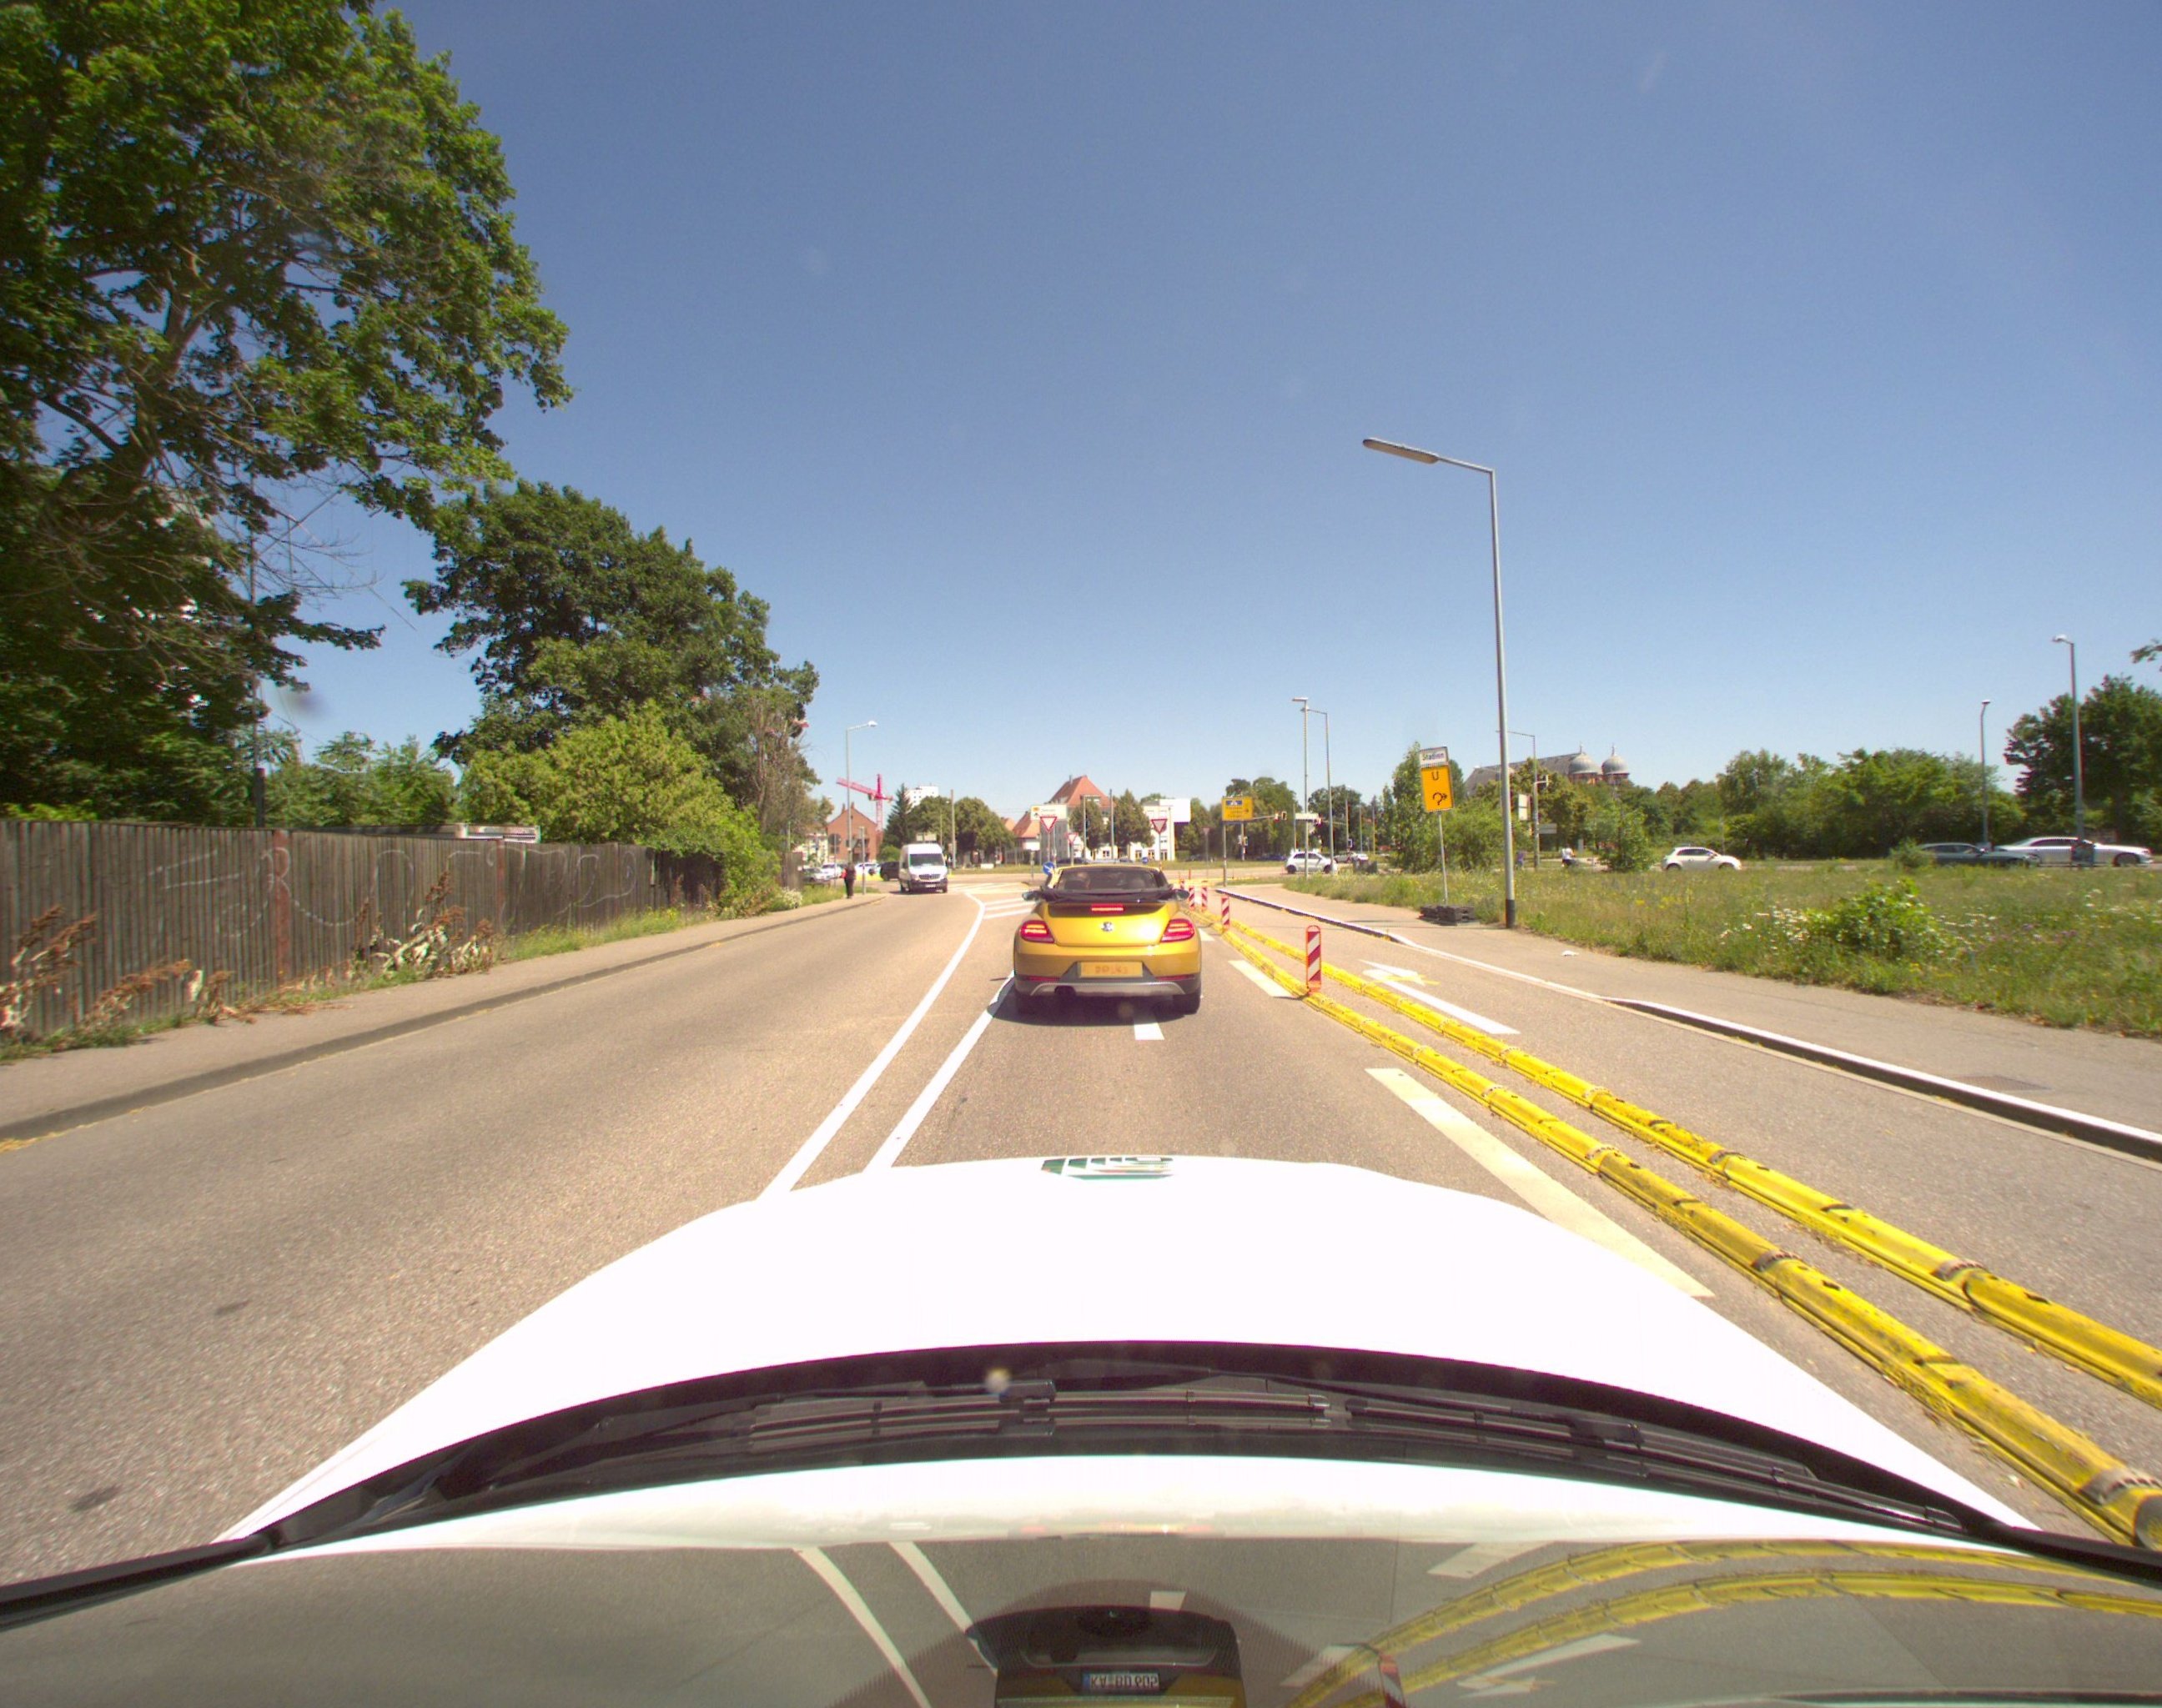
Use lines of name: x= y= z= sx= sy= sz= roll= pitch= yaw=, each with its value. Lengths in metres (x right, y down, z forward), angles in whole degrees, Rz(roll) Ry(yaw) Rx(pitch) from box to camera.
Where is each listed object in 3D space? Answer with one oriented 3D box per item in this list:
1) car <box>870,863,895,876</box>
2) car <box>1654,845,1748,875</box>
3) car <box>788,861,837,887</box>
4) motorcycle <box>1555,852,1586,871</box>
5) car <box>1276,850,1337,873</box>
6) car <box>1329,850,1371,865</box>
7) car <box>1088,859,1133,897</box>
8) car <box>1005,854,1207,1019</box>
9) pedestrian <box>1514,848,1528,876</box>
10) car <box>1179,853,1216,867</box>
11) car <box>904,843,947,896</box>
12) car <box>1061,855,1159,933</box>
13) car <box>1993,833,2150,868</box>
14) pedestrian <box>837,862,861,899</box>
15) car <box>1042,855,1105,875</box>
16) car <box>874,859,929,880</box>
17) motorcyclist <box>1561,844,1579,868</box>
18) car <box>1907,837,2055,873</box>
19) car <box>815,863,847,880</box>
car: x=-22.836 y=1.768 z=93.879 sx=1.749 sy=1.549 sz=4.002 roll=-1 pitch=-1 yaw=2
car: x=33.643 y=0.331 z=44.326 sx=3.948 sy=1.552 sz=1.751 roll=-1 pitch=-1 yaw=33
car: x=-21.081 y=1.601 z=63.900 sx=3.630 sy=1.850 sz=1.643 roll=-3 pitch=-1 yaw=32
motorcycle: x=26.374 y=0.410 z=43.885 sx=1.712 sy=0.970 sz=0.625 roll=0 pitch=-1 yaw=-28
car: x=15.530 y=0.514 z=56.253 sx=3.962 sy=1.552 sz=1.745 roll=-1 pitch=-1 yaw=10
car: x=33.380 y=0.452 z=101.226 sx=2.029 sy=1.786 sz=5.138 roll=-2 pitch=-1 yaw=-24
car: x=1.197 y=0.926 z=33.140 sx=1.730 sy=1.442 sz=4.002 roll=-1 pitch=-1 yaw=2
car: x=0.276 y=0.737 z=9.014 sx=1.746 sy=1.422 sz=3.778 roll=-1 pitch=-1 yaw=2
pedestrian: x=24.682 y=0.446 z=45.686 sx=0.495 sy=1.563 sz=0.514 roll=-1 pitch=-1 yaw=2
car: x=16.792 y=0.872 z=117.351 sx=4.870 sy=1.786 sz=2.038 roll=-3 pitch=-1 yaw=26
car: x=-8.348 y=0.826 z=43.467 sx=2.021 sy=2.539 sz=6.799 roll=-2 pitch=0 yaw=-12
car: x=0.620 y=0.775 z=17.369 sx=1.841 sy=1.442 sz=4.002 roll=-1 pitch=-1 yaw=2
car: x=47.686 y=-0.138 z=39.379 sx=4.584 sy=1.552 sz=1.750 roll=-1 pitch=-1 yaw=44
pedestrian: x=-10.108 y=1.137 z=35.459 sx=0.806 sy=1.563 sz=0.876 roll=-1 pitch=-1 yaw=-2
car: x=-0.545 y=0.813 z=59.642 sx=4.160 sy=1.391 sz=1.910 roll=-1 pitch=-1 yaw=17
car: x=-14.139 y=1.237 z=64.014 sx=4.390 sy=1.596 sz=2.012 roll=-1 pitch=-1 yaw=40
motorcyclist: x=26.396 y=0.122 z=43.933 sx=0.616 sy=1.289 sz=0.576 roll=0 pitch=-1 yaw=-27
car: x=41.435 y=0.043 z=37.653 sx=4.352 sy=1.552 sz=1.751 roll=0 pitch=0 yaw=38
car: x=-24.018 y=1.642 z=78.416 sx=1.749 sy=1.549 sz=4.002 roll=-1 pitch=-1 yaw=2
